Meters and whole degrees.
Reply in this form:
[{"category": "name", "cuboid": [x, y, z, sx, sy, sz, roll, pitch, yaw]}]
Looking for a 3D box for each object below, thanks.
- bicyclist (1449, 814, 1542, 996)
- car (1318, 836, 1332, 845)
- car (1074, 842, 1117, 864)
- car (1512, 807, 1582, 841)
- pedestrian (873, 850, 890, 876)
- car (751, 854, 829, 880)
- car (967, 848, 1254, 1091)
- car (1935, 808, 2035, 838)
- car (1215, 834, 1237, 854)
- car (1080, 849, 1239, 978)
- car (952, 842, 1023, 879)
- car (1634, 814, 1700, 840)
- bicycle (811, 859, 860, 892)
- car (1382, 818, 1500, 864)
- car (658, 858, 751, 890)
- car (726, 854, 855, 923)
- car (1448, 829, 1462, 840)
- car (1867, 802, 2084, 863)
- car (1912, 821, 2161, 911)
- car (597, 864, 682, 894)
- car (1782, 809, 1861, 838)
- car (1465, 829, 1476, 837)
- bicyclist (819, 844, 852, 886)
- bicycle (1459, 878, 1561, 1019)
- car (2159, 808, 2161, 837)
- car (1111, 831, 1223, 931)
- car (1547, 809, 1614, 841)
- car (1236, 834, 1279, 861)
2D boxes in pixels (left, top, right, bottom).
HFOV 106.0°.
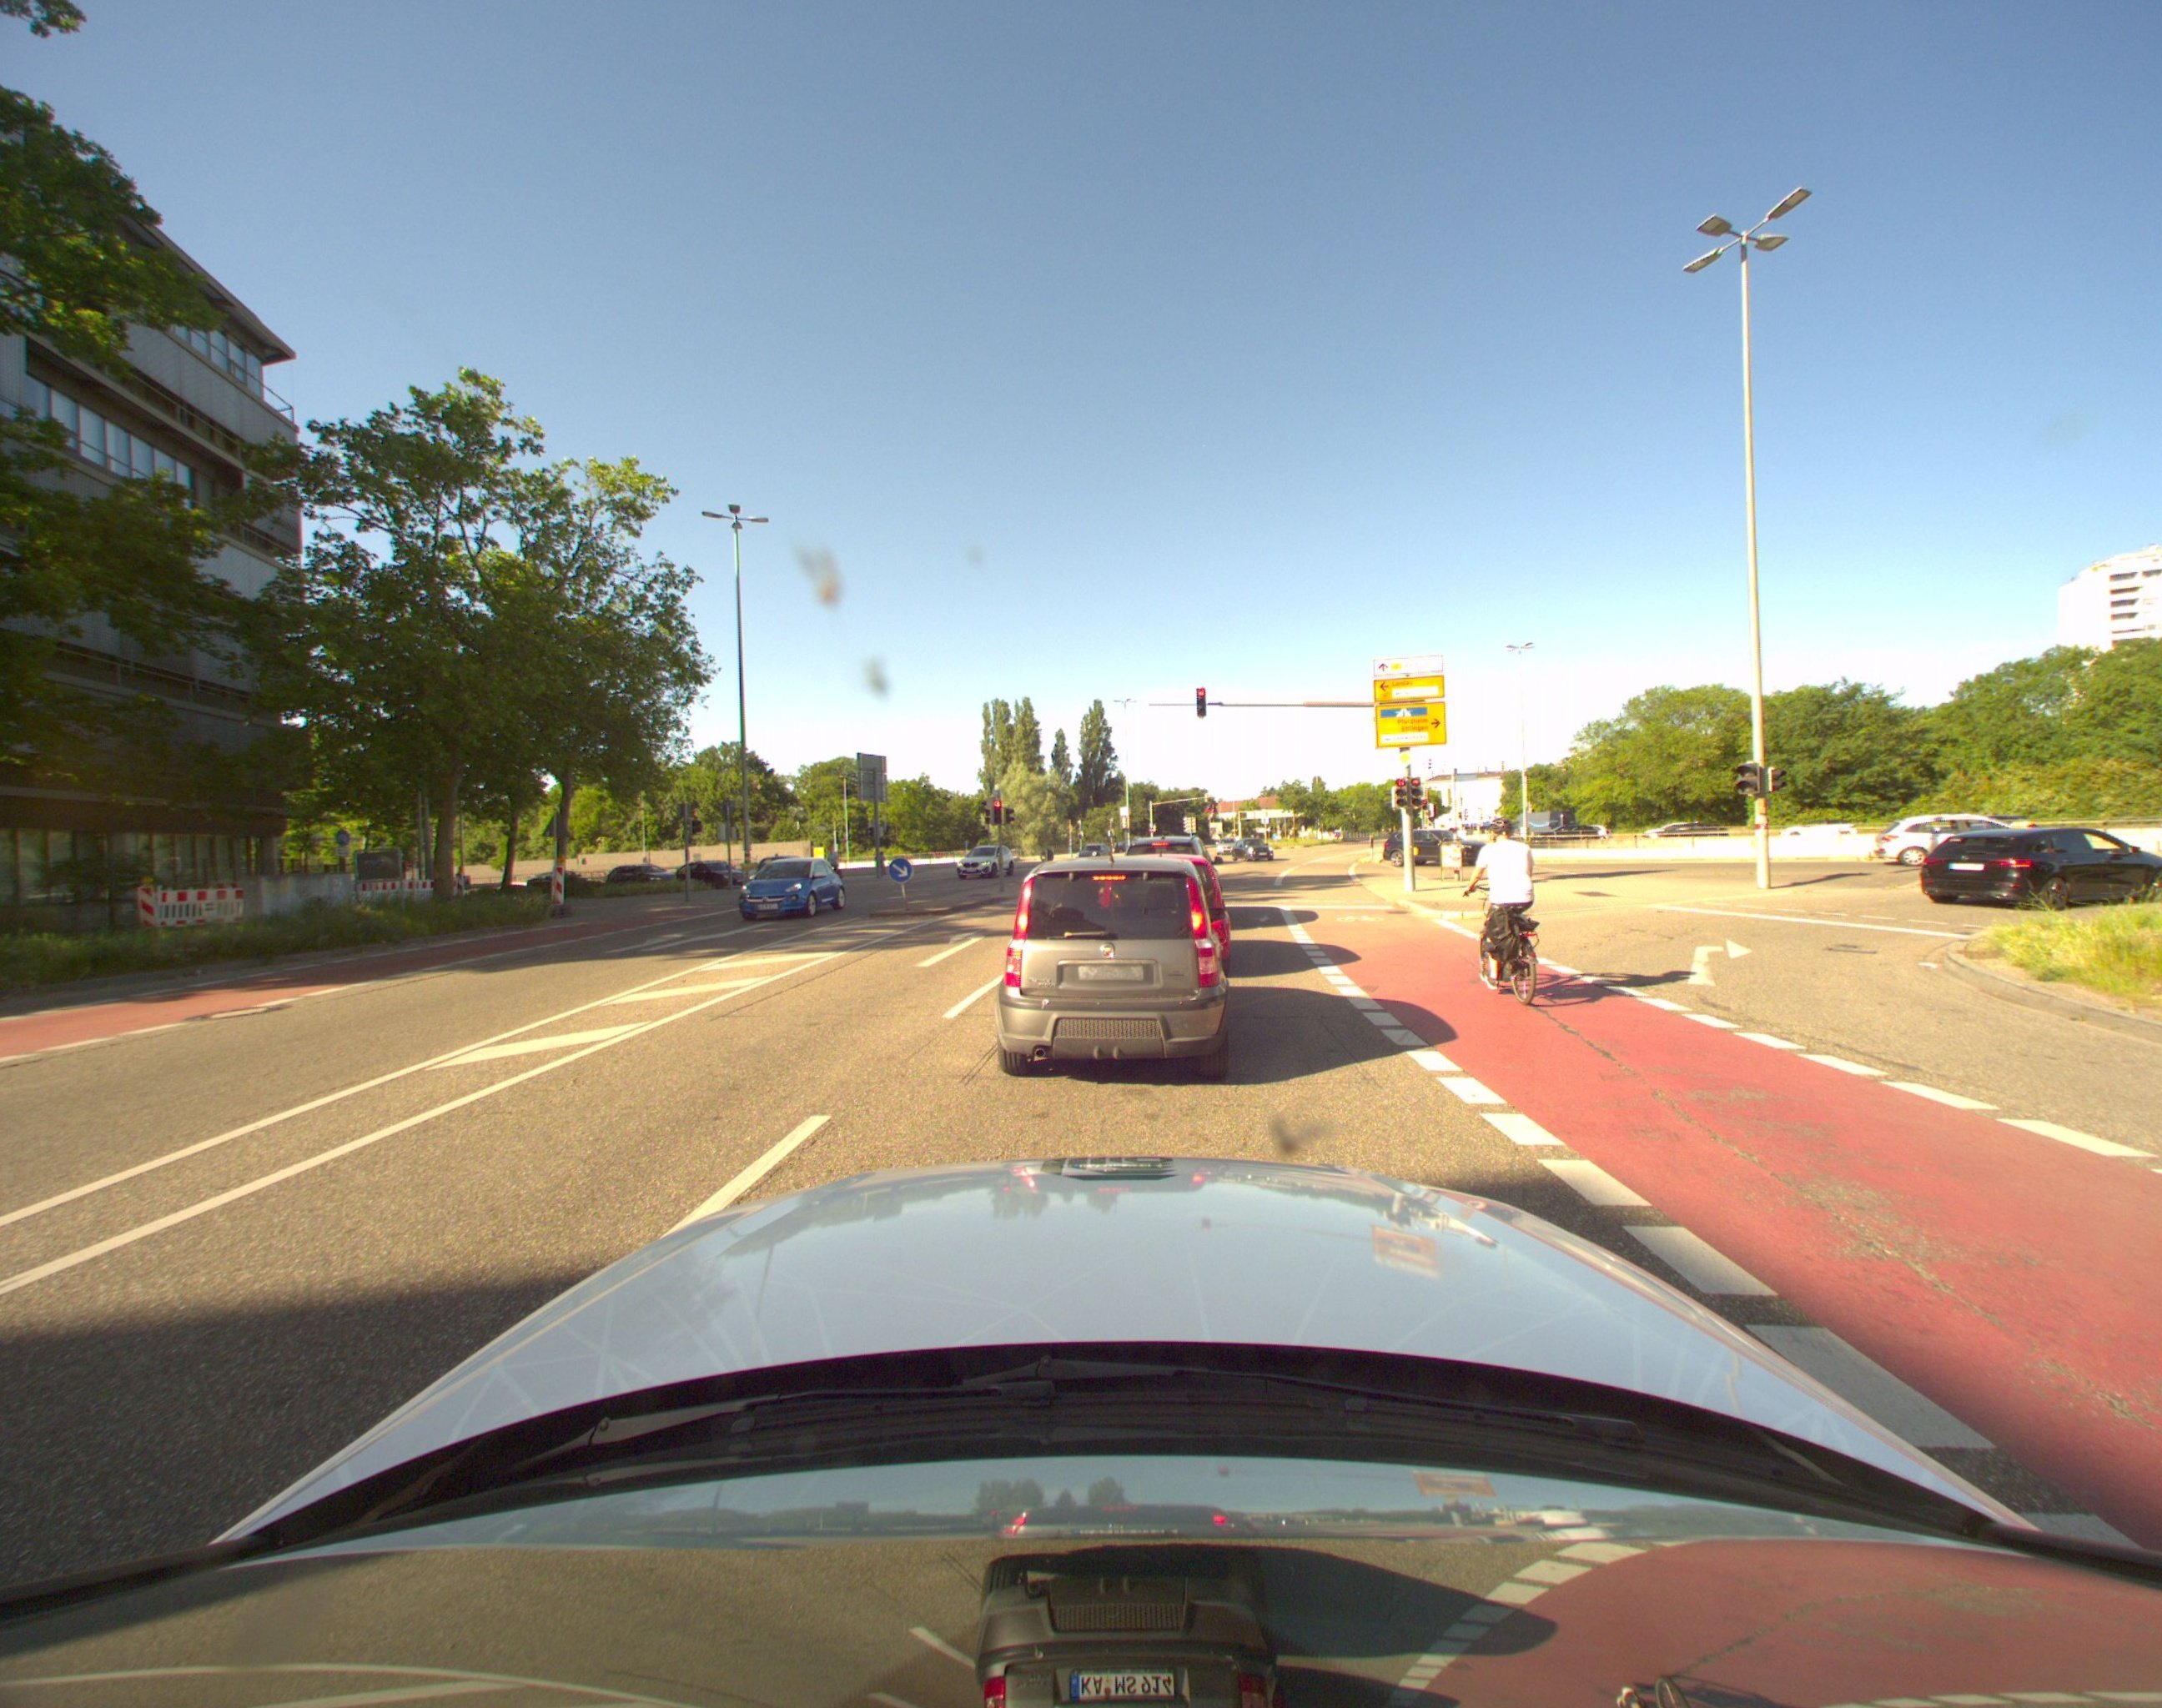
[{"category": "bicyclist", "cuboid": [4.223, 0.473, 8.323, 0.792, 1.705, 1.092, 0, 1, 27]}, {"category": "car", "cuboid": [54.471, -3.066, 181.563, 1.994, 1.855, 4.457, -2, -2, 28]}, {"category": "car", "cuboid": [1.084, -0.064, 59.046, 1.671, 1.457, 3.936, -2, -1, 24]}, {"category": "car", "cuboid": [40.051, -2.531, 70.129, 2.262, 2.607, 4.852, 0, -2, -21]}, {"category": "pedestrian", "cuboid": [-12.088, 0.550, 49.463, 0.684, 1.538, 1.366, -1, -4, 0]}, {"category": "car", "cuboid": [-18.436, 0.816, 51.631, 4.402, 1.438, 1.834, -2, 0, 17]}, {"category": "car", "cuboid": [0.384, 0.708, 7.161, 1.811, 1.489, 4.007, 0, 1, 6]}, {"category": "car", "cuboid": [57.617, -1.937, 52.033, 3.948, 1.662, 2.012, -2, -2, 39]}, {"category": "car", "cuboid": [12.285, -0.867, 69.265, 1.740, 1.493, 4.362, -1, 2, 10]}, {"category": "car", "cuboid": [1.154, 0.679, 11.423, 1.810, 1.479, 4.008, -1, 0, 7]}, {"category": "car", "cuboid": [-4.660, 0.286, 41.286, 1.819, 1.653, 4.649, -2, 1, 16]}, {"category": "car", "cuboid": [45.086, -2.062, 62.671, 3.948, 1.750, 2.012, -3, -2, 41]}, {"category": "bicycle", "cuboid": [-10.338, 0.870, 34.398, 0.681, 1.202, 2.339, -2, 2, 19]}, {"category": "car", "cuboid": [15.812, -0.513, 35.991, 2.008, 1.836, 4.314, 0, -2, -34]}, {"category": "car", "cuboid": [-19.292, 1.027, 41.714, 4.396, 1.438, 1.837, -2, 0, 24]}, {"category": "car", "cuboid": [-7.453, 0.800, 21.412, 1.815, 1.503, 4.448, -3, 1, -1]}, {"category": "car", "cuboid": [69.554, -3.561, 151.412, 1.974, 1.794, 4.024, -2, -2, 30]}, {"category": "car", "cuboid": [26.454, -0.597, 24.316, 4.050, 1.582, 1.838, -2, 1, 36]}, {"category": "car", "cuboid": [19.031, 0.169, 15.997, 3.983, 1.493, 1.753, -2, 2, -7]}, {"category": "car", "cuboid": [-24.580, 1.375, 45.315, 4.396, 1.438, 1.837, -2, 0, 24]}, {"category": "car", "cuboid": [51.338, -2.079, 56.589, 3.948, 1.684, 1.868, -3, -2, 41]}, {"category": "car", "cuboid": [88.863, -4.733, 185.859, 1.974, 1.640, 4.025, -3, 0, 29]}, {"category": "bicyclist", "cuboid": [-10.359, 0.448, 34.389, 0.681, 1.701, 1.204, -2, 2, 18]}, {"category": "bicycle", "cuboid": [4.329, 0.854, 8.280, 0.792, 1.110, 2.416, 0, 1, 27]}, {"category": "car", "cuboid": [64.907, -1.939, 46.285, 3.948, 1.662, 2.012, -2, -2, 40]}, {"category": "car", "cuboid": [1.921, 0.444, 16.859, 1.856, 1.790, 4.428, 0, 1, 11]}, {"category": "car", "cuboid": [36.872, -2.099, 60.158, 3.948, 2.014, 2.012, -3, -2, 41]}, {"category": "car", "cuboid": [10.999, -0.374, 51.083, 1.986, 1.453, 4.001, -1, -2, 2]}]
